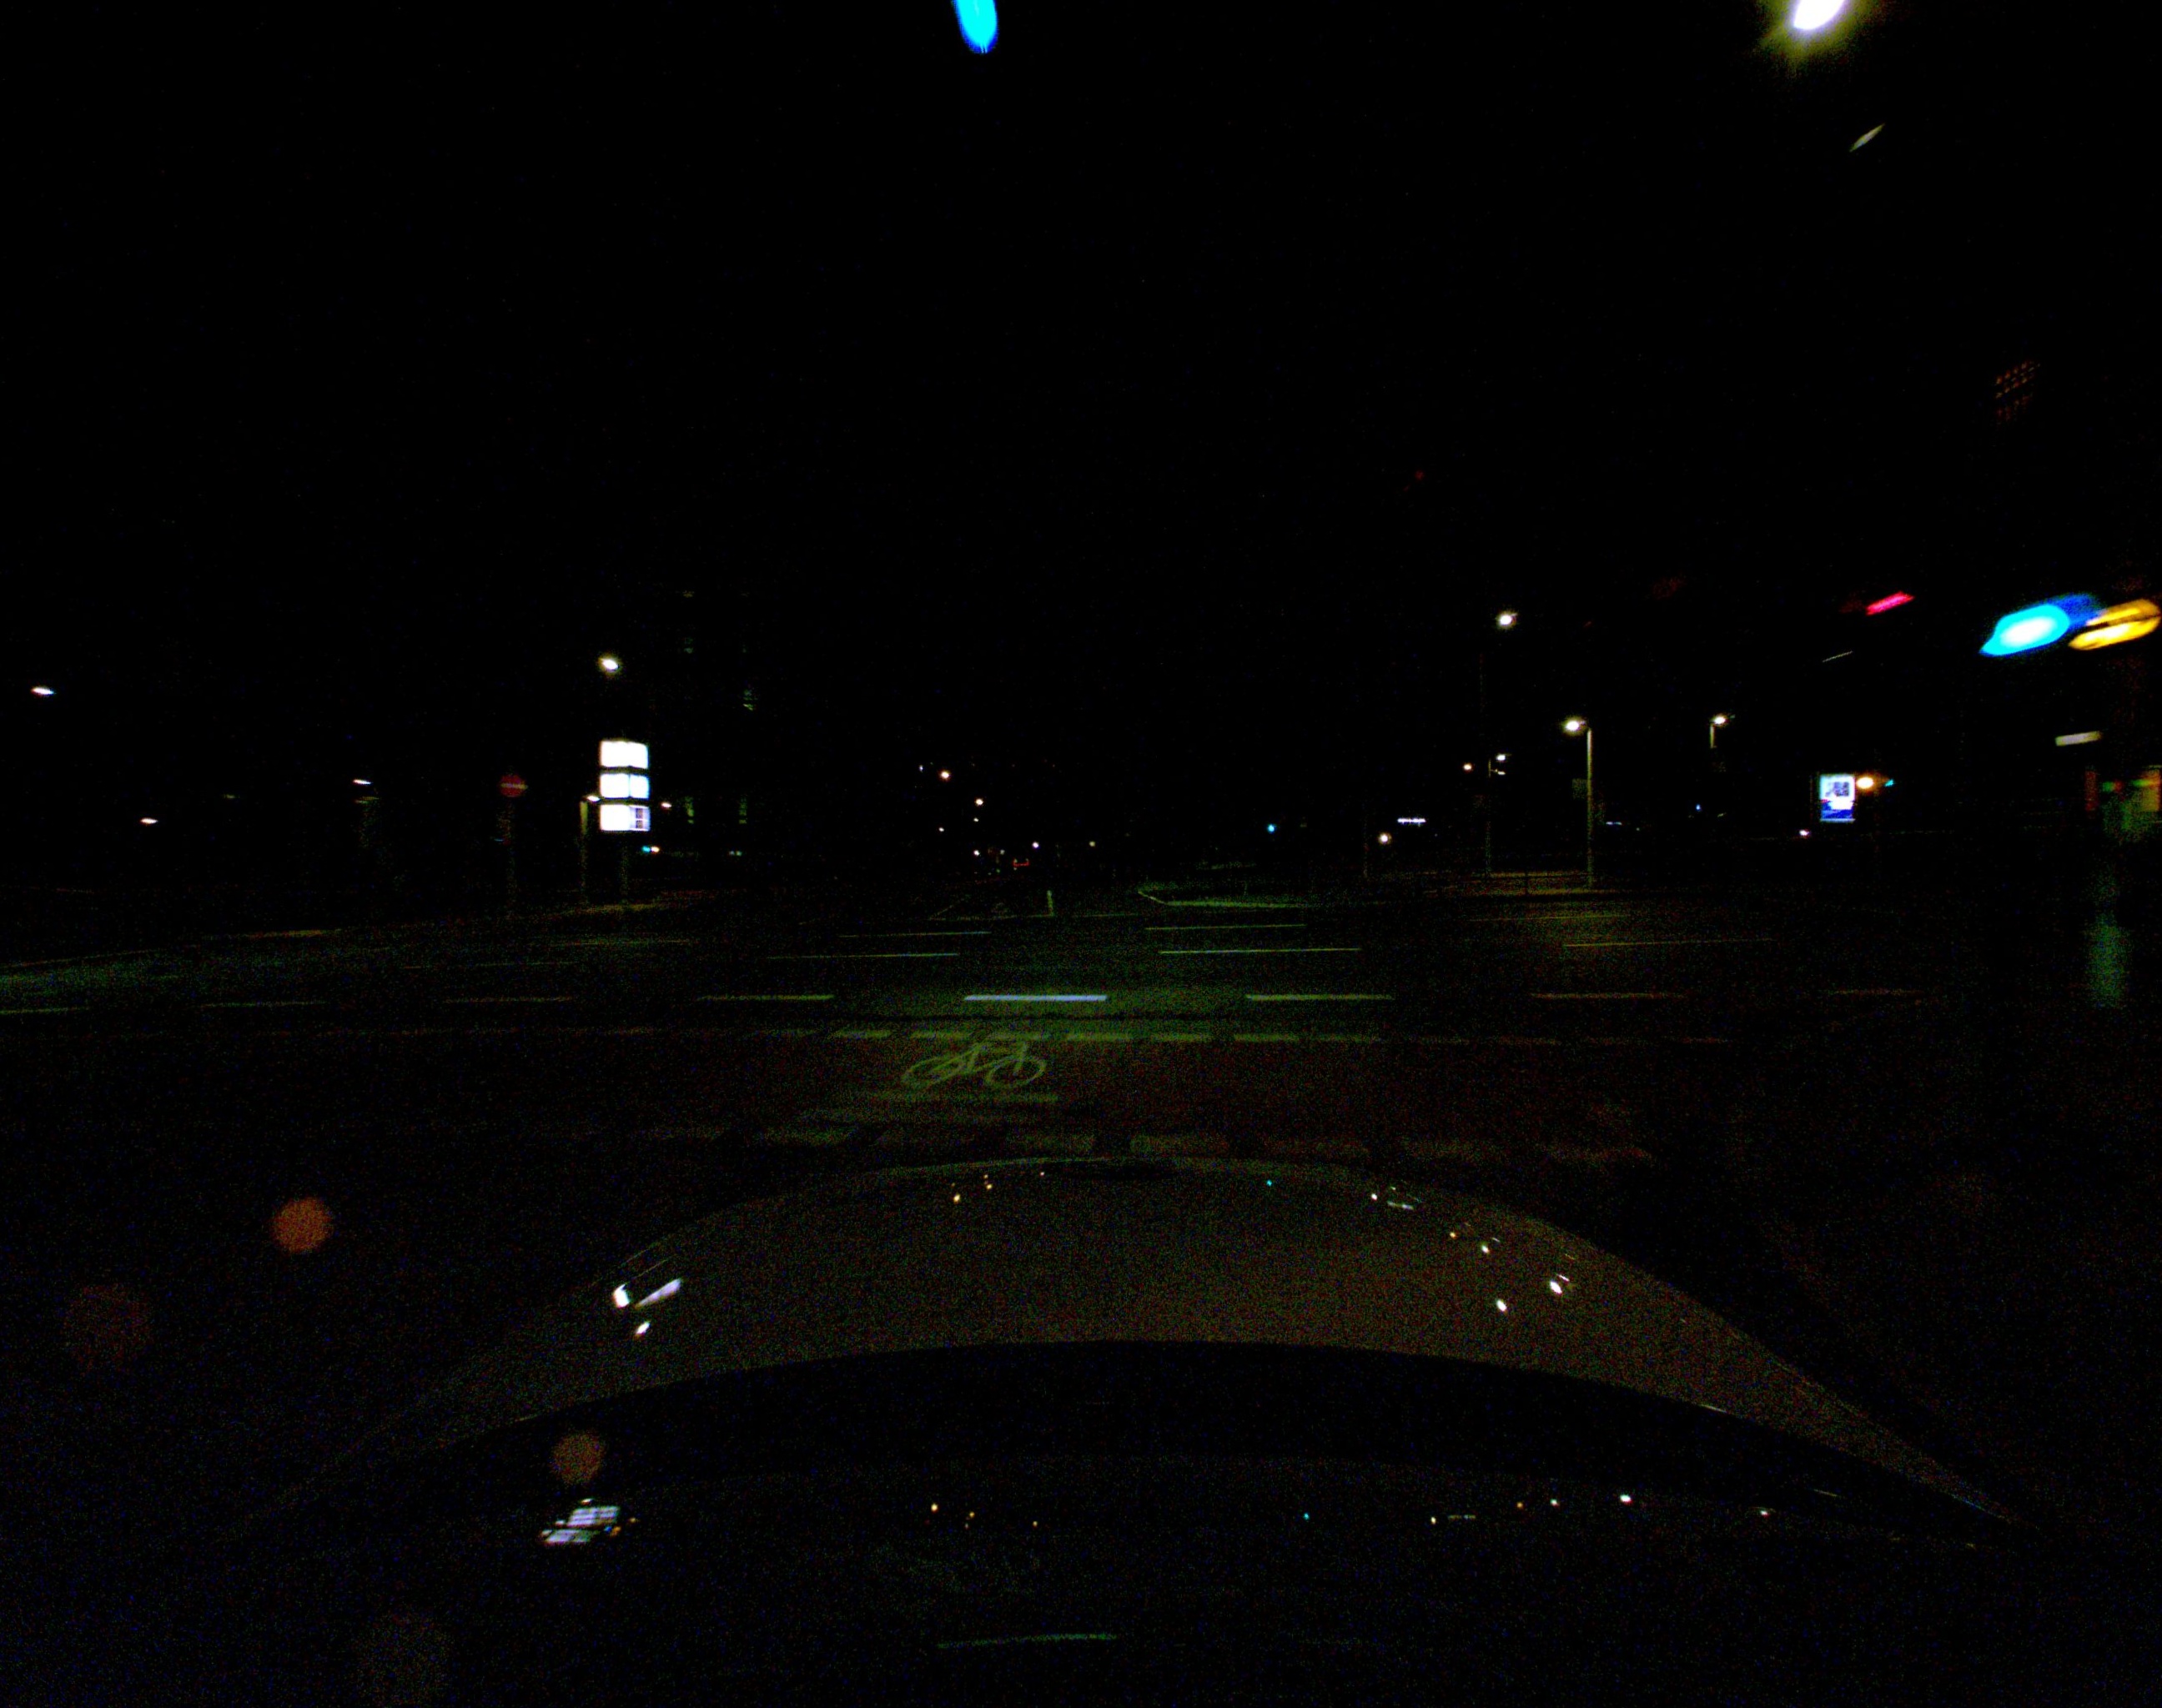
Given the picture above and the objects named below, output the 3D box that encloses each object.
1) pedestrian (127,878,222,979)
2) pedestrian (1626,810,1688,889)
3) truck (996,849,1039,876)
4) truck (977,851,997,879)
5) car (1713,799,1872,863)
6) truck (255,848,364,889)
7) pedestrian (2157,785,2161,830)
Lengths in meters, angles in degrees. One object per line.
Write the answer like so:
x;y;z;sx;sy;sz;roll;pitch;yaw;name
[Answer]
-15.559;1.251;14.002;0.667;1.634;0.861;-1;0;-4;pedestrian
13.338;-0.103;18.877;0.752;1.744;0.833;-4;1;0;pedestrian
-11.527;1.542;146.610;4.837;4.547;12.586;-1;0;-18;truck
-13.193;1.496;114.518;2.581;3.707;5.721;-1;0;-8;truck
26.495;-0.822;30.453;3.968;2.013;2.003;-4;-1;5;car
-61.485;1.145;64.978;5.875;3.087;2.914;-1;0;1;truck
37.119;-1.599;27.207;1.131;1.500;1.084;-3;-1;40;pedestrian
